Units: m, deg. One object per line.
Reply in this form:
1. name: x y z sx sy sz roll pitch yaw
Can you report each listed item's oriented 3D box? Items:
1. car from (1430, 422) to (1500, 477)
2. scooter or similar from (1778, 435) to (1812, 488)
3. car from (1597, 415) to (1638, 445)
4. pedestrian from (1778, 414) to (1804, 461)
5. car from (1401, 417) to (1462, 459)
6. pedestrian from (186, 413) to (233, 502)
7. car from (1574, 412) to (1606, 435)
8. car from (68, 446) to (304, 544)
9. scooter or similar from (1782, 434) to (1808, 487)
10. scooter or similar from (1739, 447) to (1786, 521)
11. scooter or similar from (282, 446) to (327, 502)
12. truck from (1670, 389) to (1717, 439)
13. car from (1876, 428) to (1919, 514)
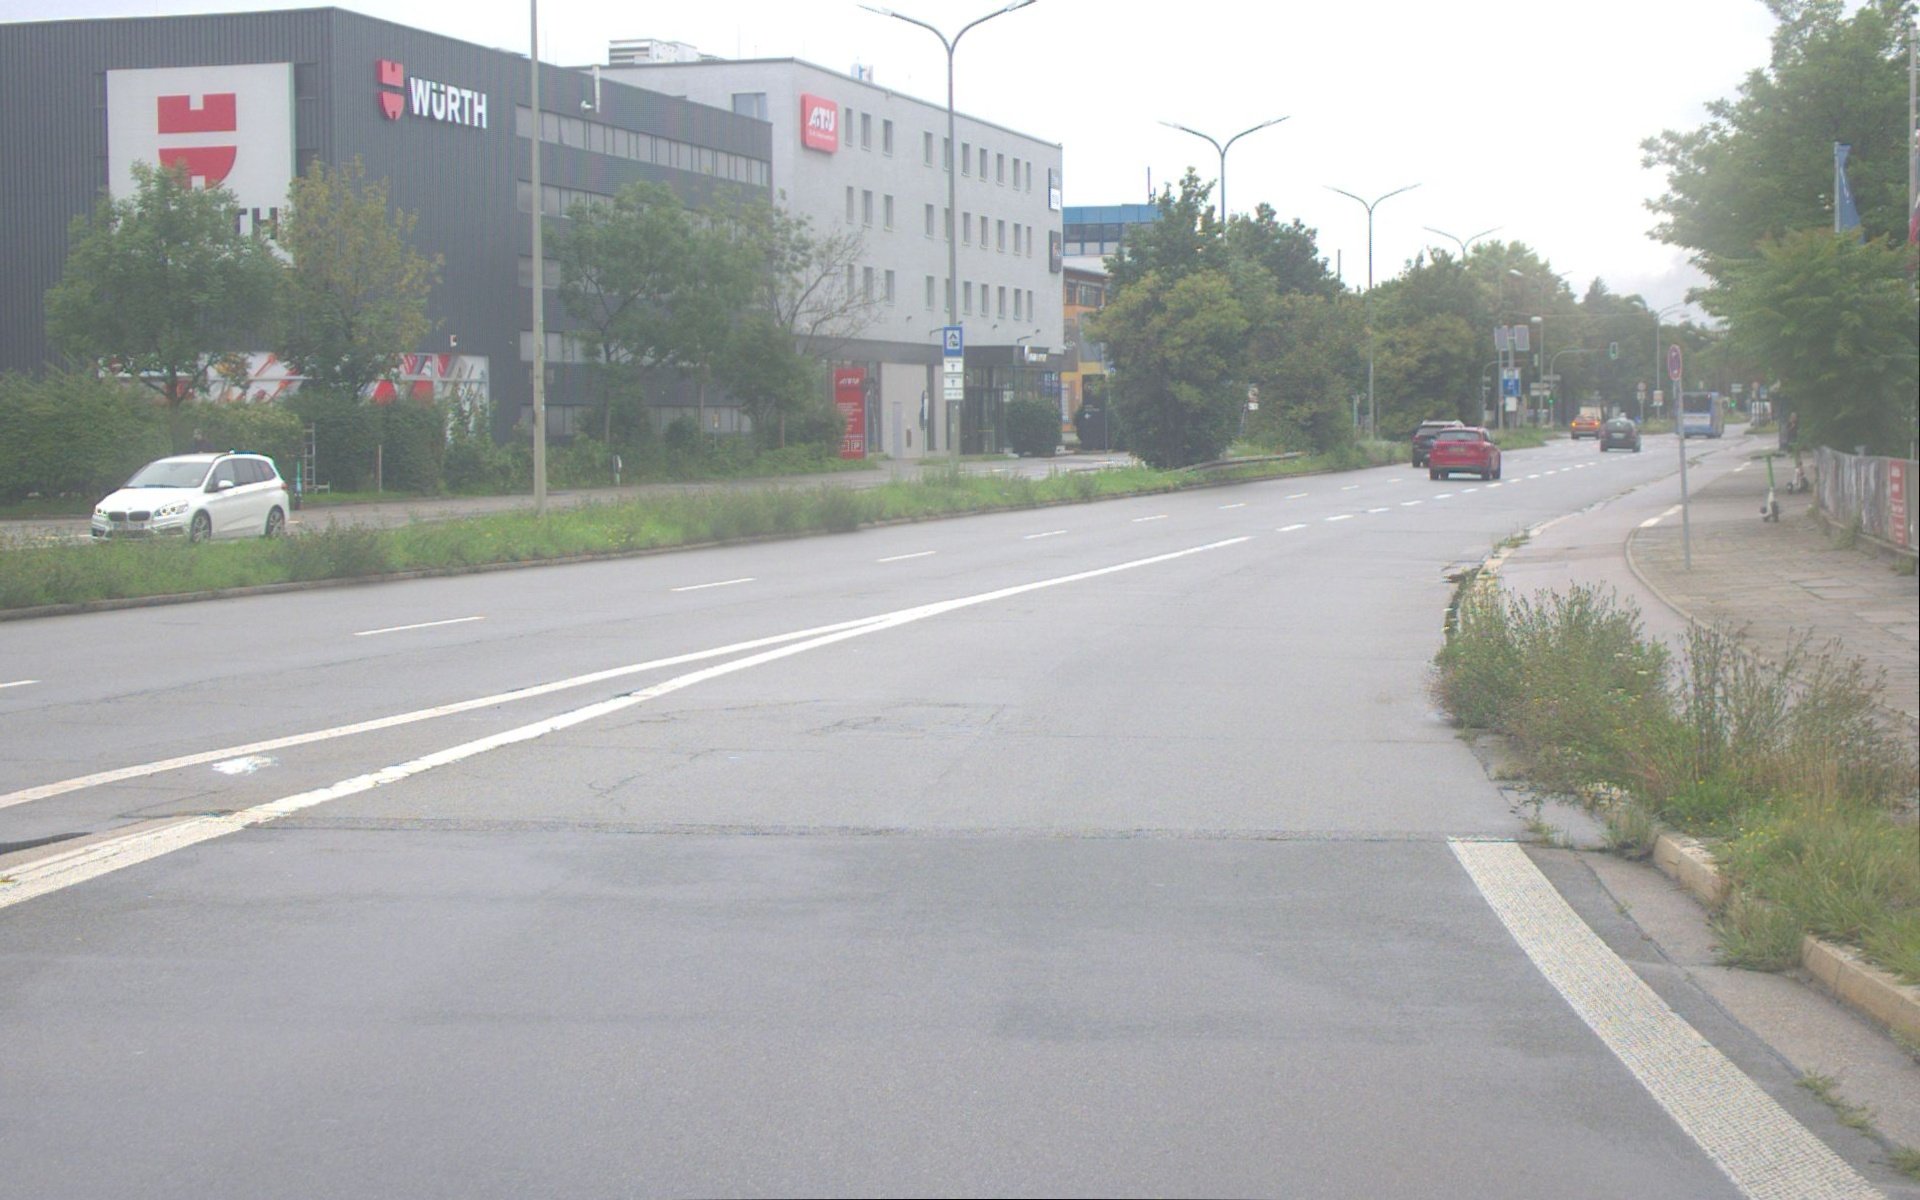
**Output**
1. car: 15.245 -4.541 103.703 1.863 1.612 3.999 1 3 12
2. scooter or similar: 19.181 -3.182 78.960 0.496 1.200 1.430 -3 2 5
3. car: 31.991 -8.293 167.288 1.804 1.427 3.998 1 3 13
4. pedestrian: 31.677 -6.208 131.002 0.758 1.722 0.895 -5 2 9
5. car: 16.784 -5.776 122.205 1.804 1.427 3.998 0 3 13
6. pedestrian: -15.479 -2.948 70.928 0.623 1.823 0.817 0 3 15
7. car: 39.986 -11.226 218.221 1.804 1.427 3.998 1 3 13
8. car: -13.033 -1.803 58.220 1.995 1.566 4.572 0 2 15
9. scooter or similar: 19.697 -3.292 81.072 0.496 1.200 1.429 -3 3 12
10. scooter or similar: 13.685 -1.978 58.635 0.397 1.218 1.640 -3 2 2
11. scooter or similar: -14.651 -2.828 76.898 0.445 1.223 1.387 0 3 13
12. truck: 49.343 -12.523 231.099 2.971 3.274 7.912 0 3 13
13. car: 17.817 -2.239 59.031 4.016 1.455 1.792 0 3 15
